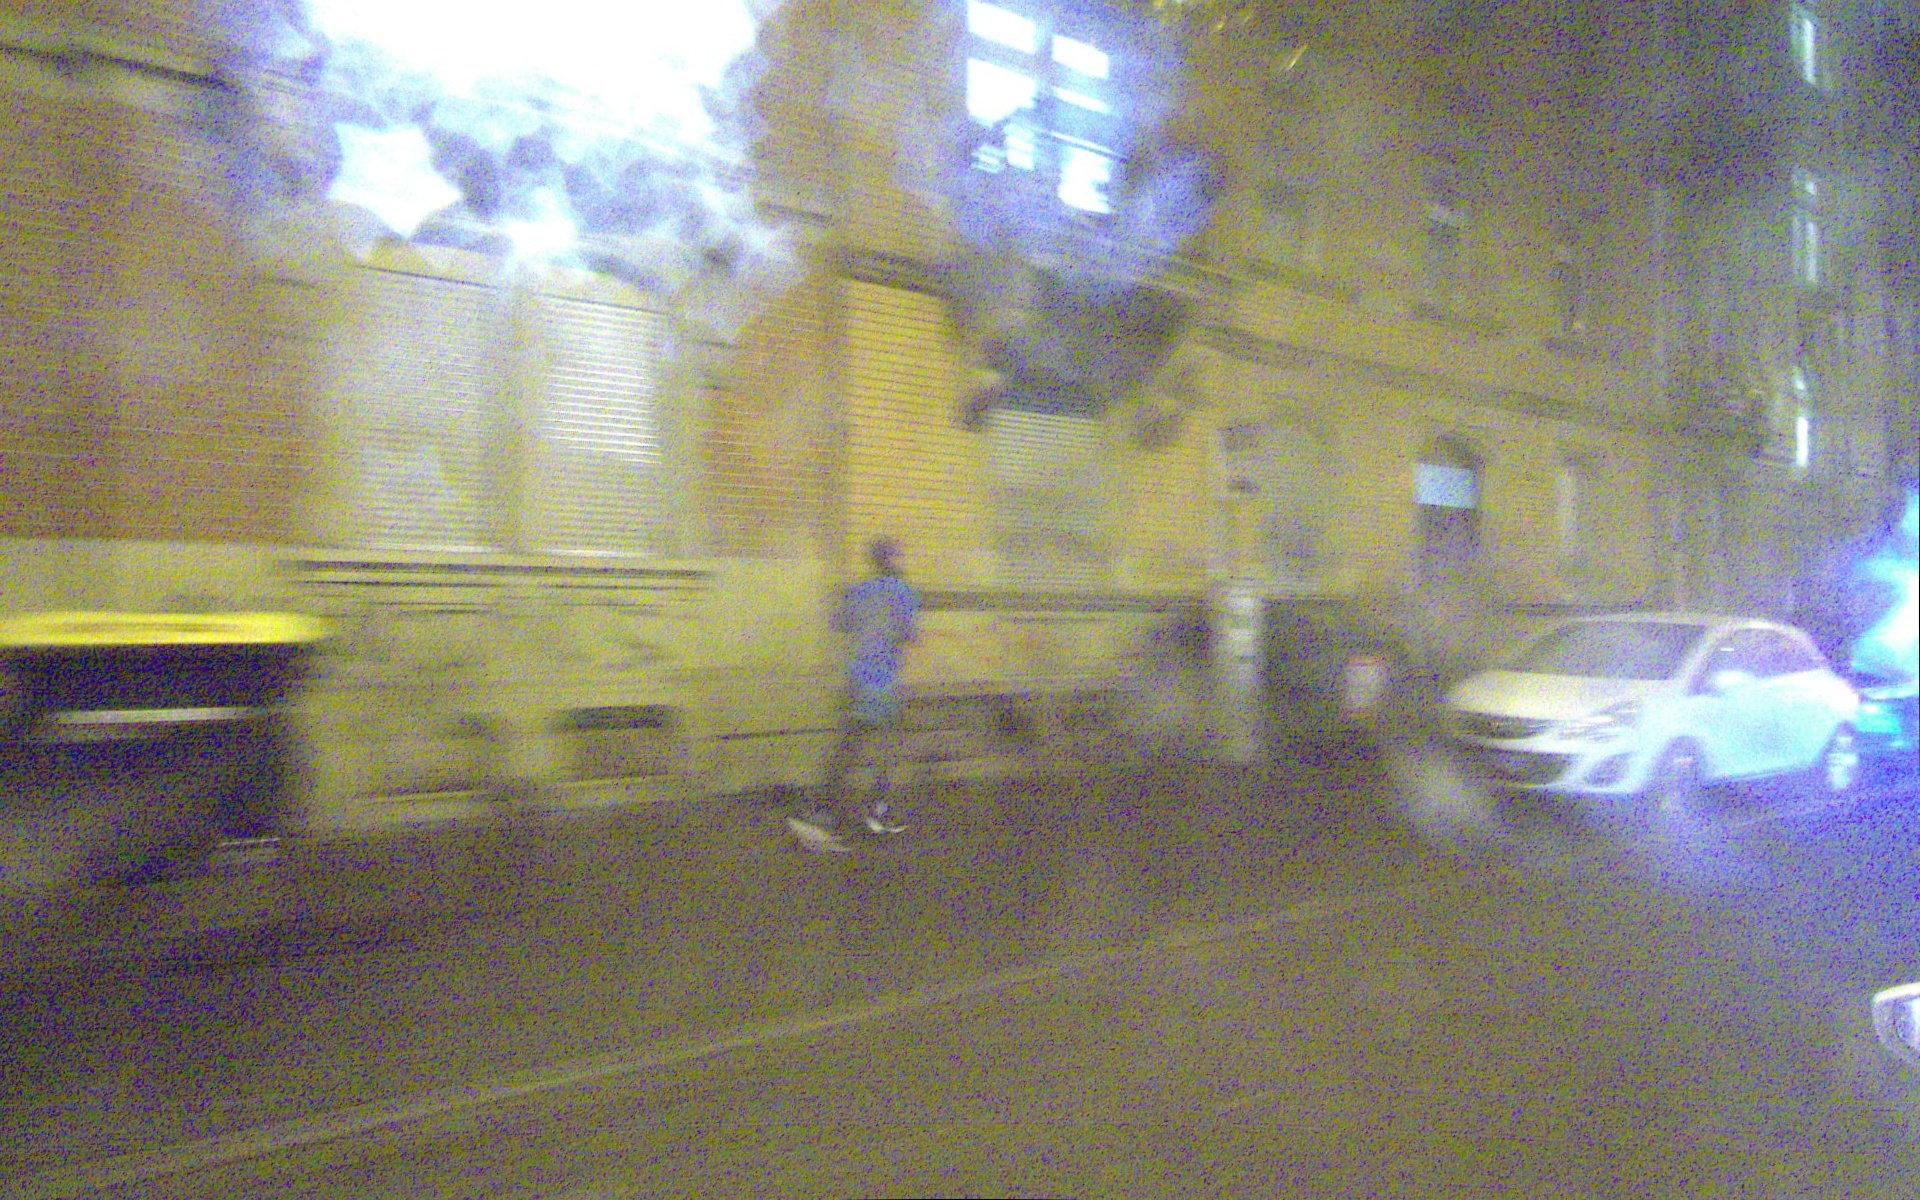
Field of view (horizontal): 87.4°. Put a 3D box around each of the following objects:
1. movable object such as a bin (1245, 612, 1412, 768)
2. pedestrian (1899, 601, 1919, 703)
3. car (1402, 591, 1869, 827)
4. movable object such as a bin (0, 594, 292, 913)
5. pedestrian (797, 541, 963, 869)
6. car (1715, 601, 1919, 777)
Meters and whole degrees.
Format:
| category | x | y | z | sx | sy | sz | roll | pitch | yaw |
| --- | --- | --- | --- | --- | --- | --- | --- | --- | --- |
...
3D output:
| category | x | y | z | sx | sy | sz | roll | pitch | yaw |
| --- | --- | --- | --- | --- | --- | --- | --- | --- | --- |
| movable object such as a bin | 3.672 | 0.852 | 10.054 | 1.143 | 1.417 | 1.043 | 1 | 1 | -27 |
| pedestrian | 16.501 | 0.881 | 17.035 | 0.533 | 1.727 | 0.698 | 1 | 0 | -30 |
| car | 5.439 | 0.717 | 8.013 | 3.747 | 1.502 | 1.580 | 1 | 0 | -29 |
| movable object such as a bin | -4.149 | 0.694 | 5.127 | 1.119 | 1.417 | 0.971 | 1 | 1 | -28 |
| pedestrian | -0.491 | 0.589 | 6.081 | 0.785 | 1.845 | 0.588 | 1 | 2 | -30 |
| car | 9.961 | 0.832 | 10.862 | 4.034 | 1.578 | 1.645 | 1 | 0 | -34 |
